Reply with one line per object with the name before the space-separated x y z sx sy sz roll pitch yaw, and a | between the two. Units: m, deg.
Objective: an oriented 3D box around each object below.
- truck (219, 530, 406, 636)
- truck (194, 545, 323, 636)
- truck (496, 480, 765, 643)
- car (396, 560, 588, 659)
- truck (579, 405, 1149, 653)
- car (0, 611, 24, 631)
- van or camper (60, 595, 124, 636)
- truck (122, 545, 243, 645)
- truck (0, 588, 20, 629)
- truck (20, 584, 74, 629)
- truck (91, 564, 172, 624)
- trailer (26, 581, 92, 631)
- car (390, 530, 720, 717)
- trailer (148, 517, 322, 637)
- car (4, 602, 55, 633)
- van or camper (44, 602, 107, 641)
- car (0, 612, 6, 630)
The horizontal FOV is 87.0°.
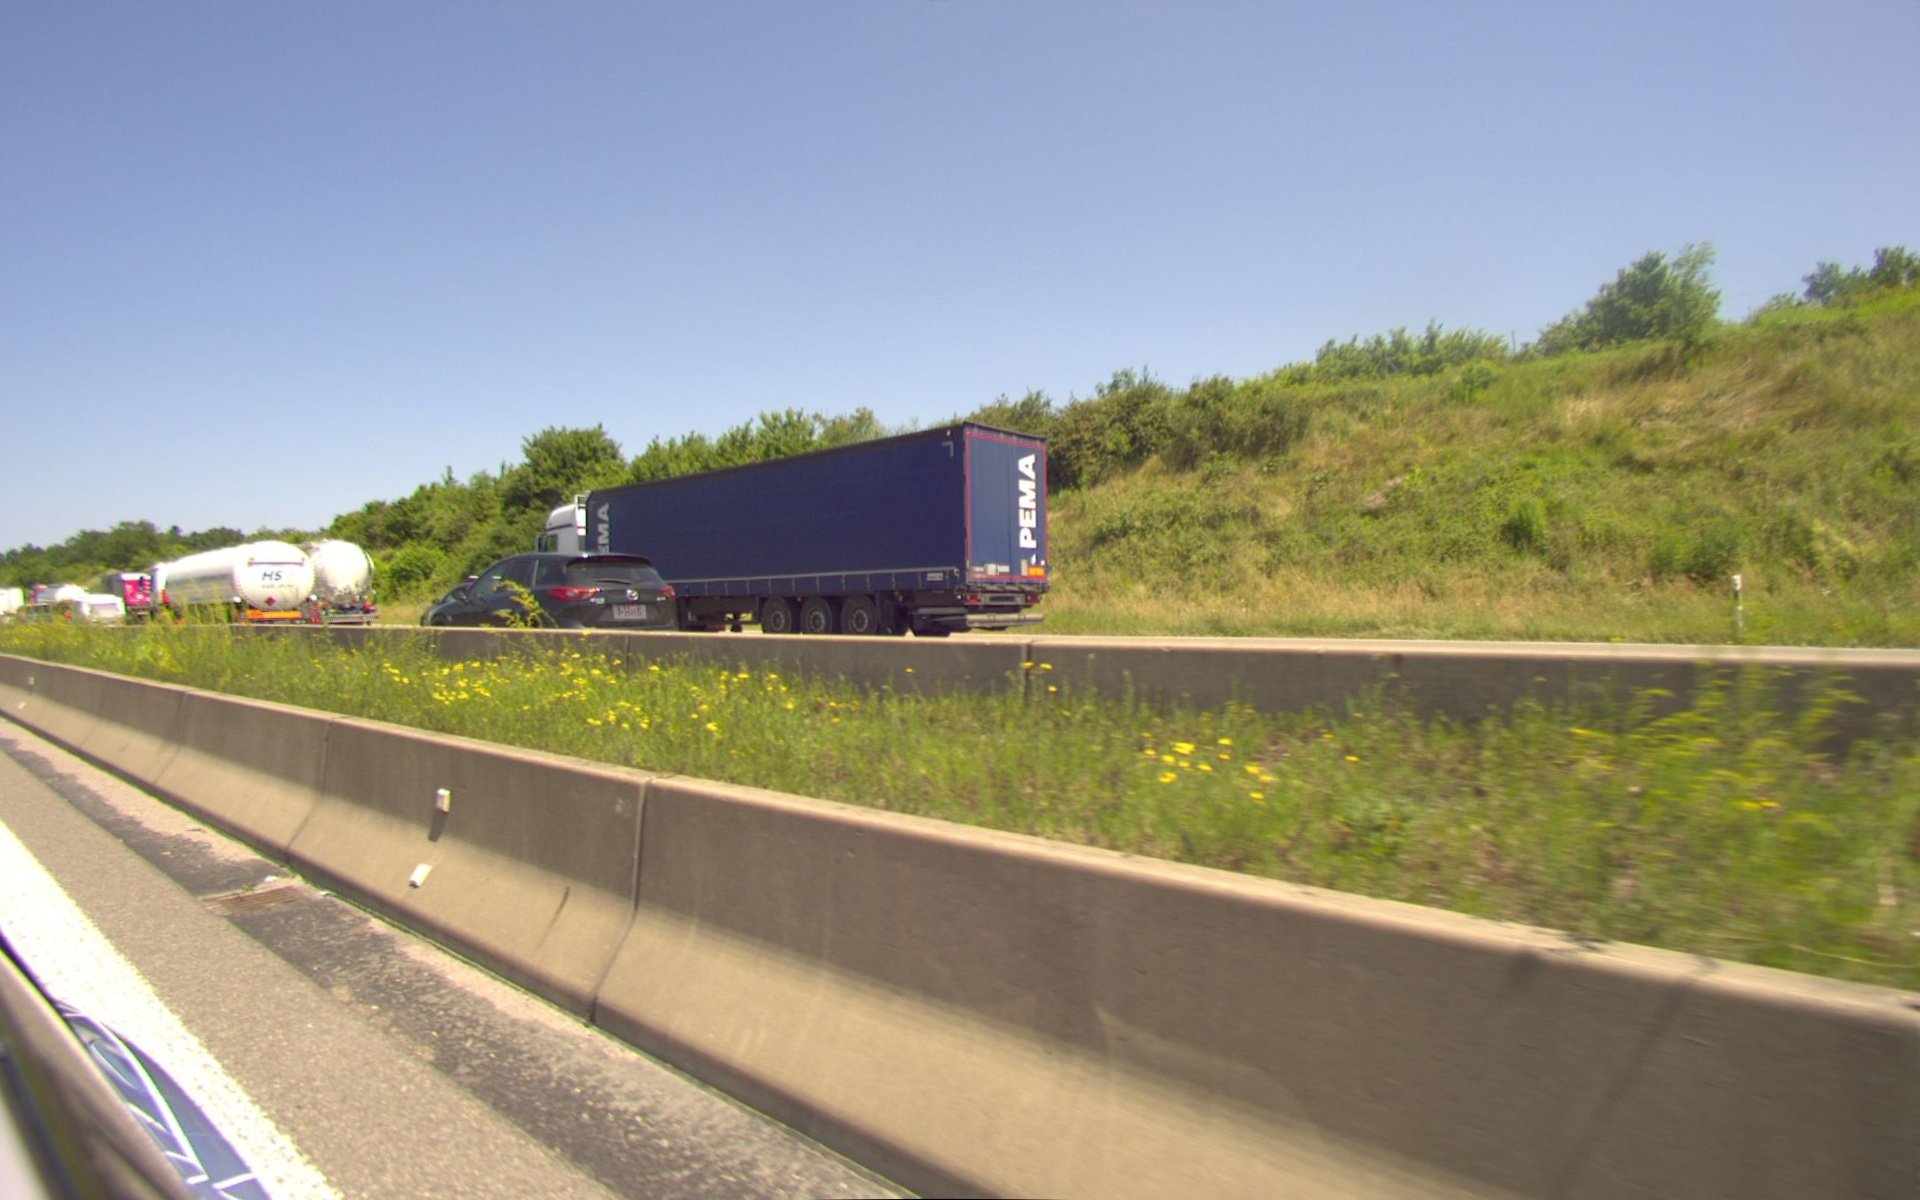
truck | -29.022 -0.596 44.956 12.573 4.124 3.541 -2 1 41
truck | -34.641 -0.486 49.926 6.640 4.066 3.455 -1 3 41
truck | -9.471 -0.947 28.532 8.142 3.938 3.473 -1 1 41
car | -11.334 0.214 24.379 5.053 2.078 2.066 -1 3 39
truck | -3.200 -1.064 23.095 14.998 4.124 3.541 -2 0 41
car | -77.577 1.696 82.208 4.187 1.561 1.736 -1 2 41
van or camper | -48.929 0.842 57.022 4.715 2.169 1.973 -1 1 41
truck | -33.167 -0.204 43.041 7.399 3.919 2.591 -1 1 41
truck | -110.187 1.029 115.627 12.415 4.357 2.495 -1 3 41
truck | -84.058 0.624 93.162 6.029 3.851 2.755 -1 3 41
truck | -55.956 -0.347 68.209 9.933 3.701 2.519 -1 2 41
trailer | -79.366 0.504 89.023 12.269 3.978 2.652 0 4 41
car | -5.710 0.242 13.917 5.057 2.078 2.064 -1 4 42
trailer | -27.825 -0.730 38.509 11.637 3.980 2.652 -1 0 40
car | -65.807 1.232 71.553 5.092 1.972 2.003 -1 2 41
van or camper | -53.229 1.282 60.839 5.951 2.169 1.973 -1 1 41
car | -85.769 1.902 89.364 4.783 1.595 1.736 -1 2 41
